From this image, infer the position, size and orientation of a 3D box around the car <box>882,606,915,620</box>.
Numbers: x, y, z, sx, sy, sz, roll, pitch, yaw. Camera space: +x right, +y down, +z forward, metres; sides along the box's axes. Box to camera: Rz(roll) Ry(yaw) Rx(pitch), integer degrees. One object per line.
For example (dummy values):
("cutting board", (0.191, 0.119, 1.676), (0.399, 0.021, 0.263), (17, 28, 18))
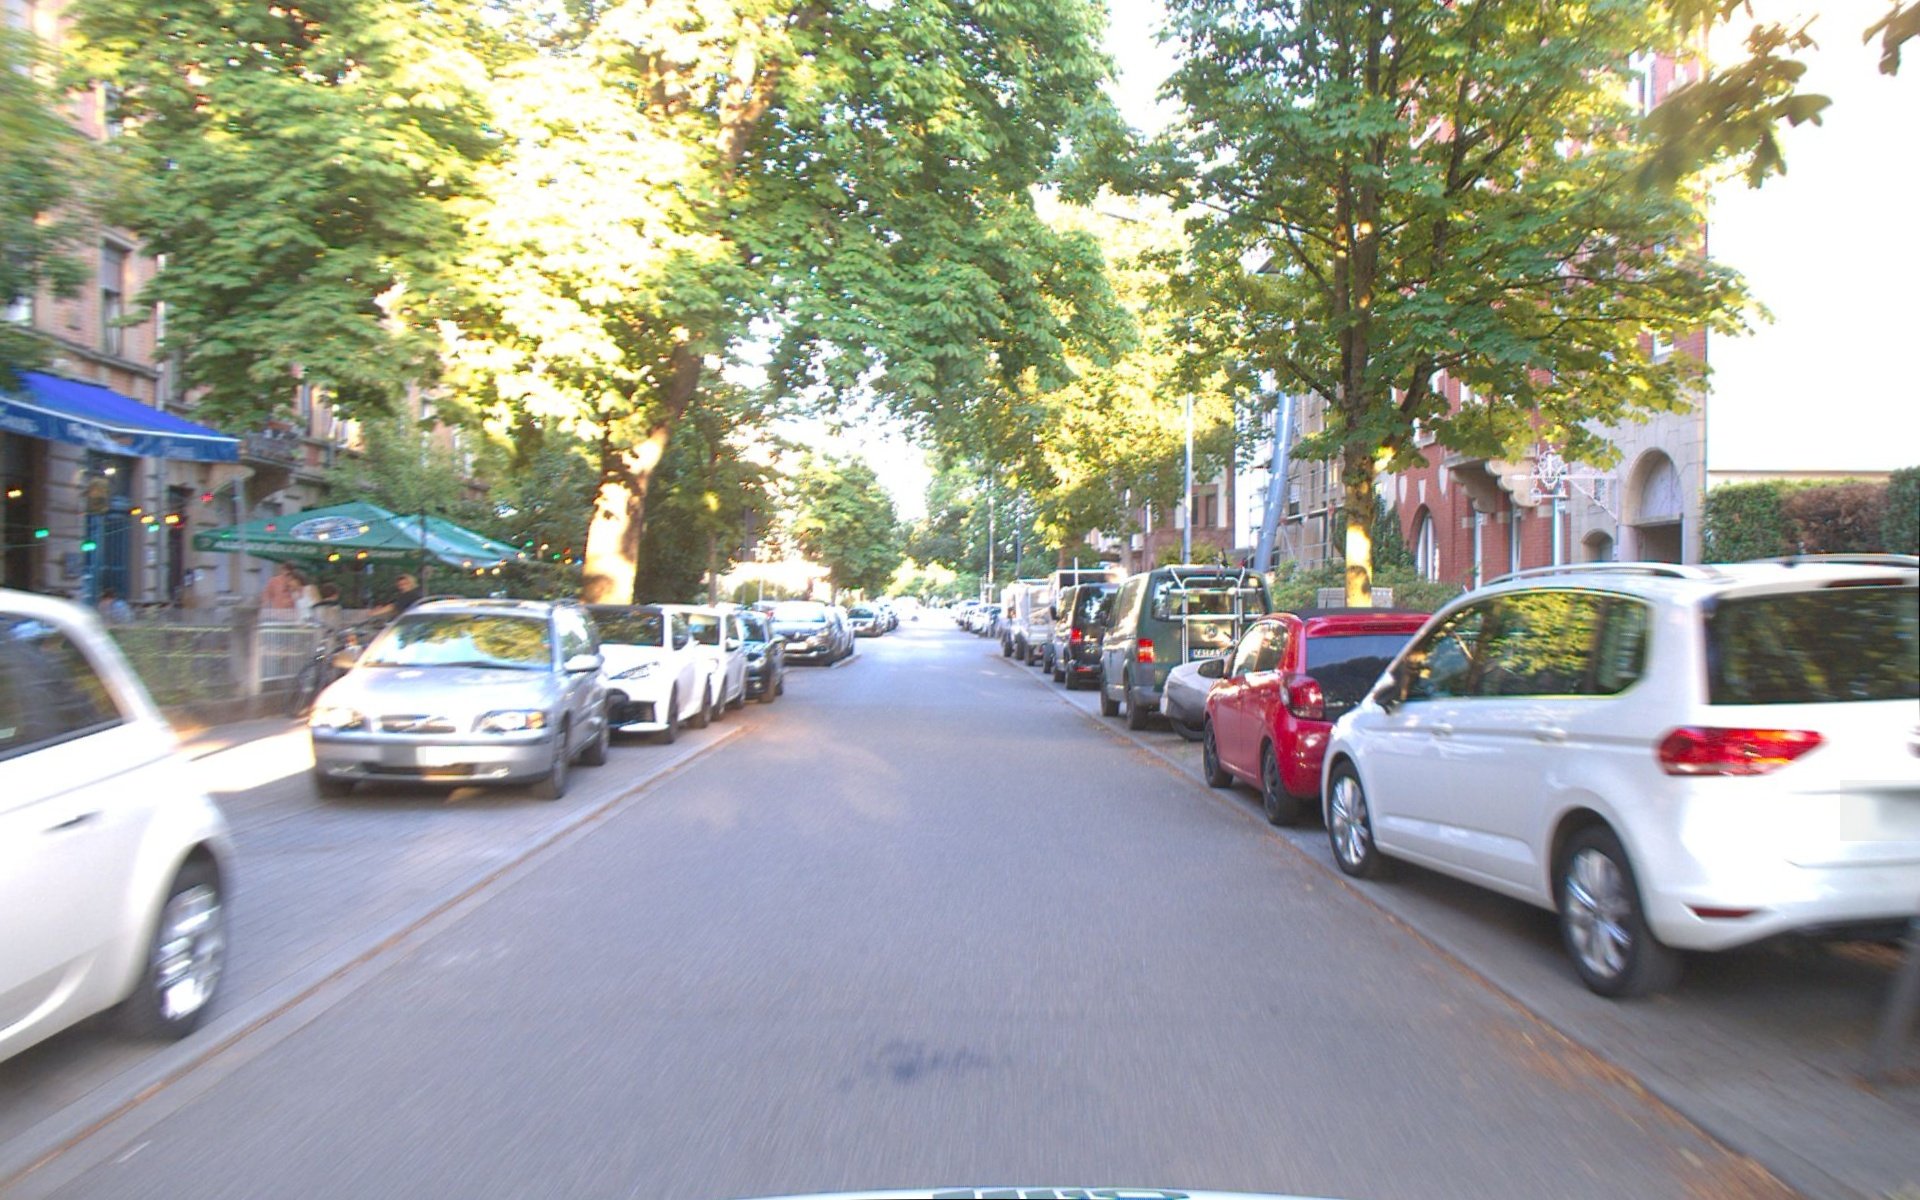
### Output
("car", (-6.594, 1.380, 177.167), (3.548, 1.487, 1.605), (1, 0, -5))

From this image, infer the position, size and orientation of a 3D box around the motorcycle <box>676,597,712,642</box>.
("motorcycle", (-7.567, 0.536, 47.127), (0.570, 1.176, 2.891), (3, 1, -1))

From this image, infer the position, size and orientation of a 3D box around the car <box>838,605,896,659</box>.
("car", (-3.020, 0.991, 53.033), (1.657, 1.528, 4.733), (3, 0, -5))

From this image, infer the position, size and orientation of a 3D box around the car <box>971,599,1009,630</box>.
("car", (1.683, 0.819, 93.986), (1.762, 1.741, 4.597), (0, -1, -4))

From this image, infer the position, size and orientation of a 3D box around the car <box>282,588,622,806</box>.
("car", (-3.909, 0.648, 13.537), (1.805, 1.436, 4.594), (2, 0, -7))

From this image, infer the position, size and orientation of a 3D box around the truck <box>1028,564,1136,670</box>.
("truck", (2.791, 0.350, 38.937), (1.915, 2.285, 4.642), (-2, 1, -3))

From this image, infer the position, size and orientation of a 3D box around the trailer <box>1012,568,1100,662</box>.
("trailer", (2.518, 0.377, 44.327), (1.914, 2.336, 4.643), (-2, 0, -1))

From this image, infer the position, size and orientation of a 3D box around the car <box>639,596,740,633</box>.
("car", (-11.803, 0.631, 72.345), (4.005, 1.472, 1.710), (1, 1, 8))

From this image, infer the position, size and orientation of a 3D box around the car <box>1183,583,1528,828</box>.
("car", (2.806, 0.661, 12.544), (1.630, 1.526, 3.693), (-2, 1, -1))

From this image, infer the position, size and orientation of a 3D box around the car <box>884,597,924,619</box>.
("car", (-6.120, 0.882, 179.855), (4.263, 2.359, 1.744), (1, 0, -3))

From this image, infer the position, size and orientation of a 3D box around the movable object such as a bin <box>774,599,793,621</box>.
("movable object such as a bin", (-11.217, 0.636, 105.404), (0.991, 1.344, 1.005), (3, 0, 3))

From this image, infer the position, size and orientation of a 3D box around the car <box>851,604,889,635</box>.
("car", (-4.462, 0.949, 82.516), (1.583, 1.496, 3.962), (1, 0, 1))

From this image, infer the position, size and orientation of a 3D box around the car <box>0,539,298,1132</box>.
("car", (-3.240, 0.560, 4.234), (1.631, 1.519, 3.709), (3, 0, -2))

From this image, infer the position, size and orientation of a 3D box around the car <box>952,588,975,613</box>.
("car", (0.298, 0.072, 137.645), (1.647, 1.975, 3.877), (1, -1, -4))

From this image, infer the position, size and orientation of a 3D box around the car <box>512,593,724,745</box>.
("car", (-3.758, 0.700, 18.788), (1.571, 1.460, 3.885), (3, 0, -1))

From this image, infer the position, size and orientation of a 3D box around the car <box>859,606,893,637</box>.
("car", (-4.972, 1.250, 98.692), (1.882, 1.747, 4.426), (1, 0, -1))

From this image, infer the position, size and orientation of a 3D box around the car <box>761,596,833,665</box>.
("car", (-4.160, 0.742, 42.561), (1.657, 1.591, 4.398), (3, 0, -5))

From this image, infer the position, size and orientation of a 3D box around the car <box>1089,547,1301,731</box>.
("car", (2.951, 0.436, 21.861), (1.915, 2.094, 4.829), (-2, 1, -2))

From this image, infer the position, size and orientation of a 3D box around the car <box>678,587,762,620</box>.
("car", (-11.244, 0.164, 77.538), (3.487, 1.472, 1.819), (1, 1, 8))

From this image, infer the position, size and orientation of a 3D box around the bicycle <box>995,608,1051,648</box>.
("bicycle", (2.156, 0.958, 56.969), (1.866, 1.280, 0.406), (-2, 0, -7))

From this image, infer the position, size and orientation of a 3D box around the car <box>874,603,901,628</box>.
("car", (-4.868, 1.026, 111.392), (1.681, 1.594, 3.787), (1, 0, -1))

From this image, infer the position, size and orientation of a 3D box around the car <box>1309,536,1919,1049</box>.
("car", (3.122, 0.618, 7.725), (1.633, 1.708, 4.113), (-2, 1, -7))

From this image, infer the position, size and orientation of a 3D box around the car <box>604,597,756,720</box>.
("car", (-3.849, 0.754, 23.244), (1.520, 1.511, 3.693), (3, 0, -2))

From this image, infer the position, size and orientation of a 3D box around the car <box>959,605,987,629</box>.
("car", (0.841, 1.110, 109.103), (1.653, 1.466, 4.208), (-1, 0, -1))

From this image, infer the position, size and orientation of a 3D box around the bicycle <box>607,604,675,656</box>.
("bicycle", (-8.258, 0.771, 42.916), (0.593, 1.307, 2.486), (0, 0, 19))

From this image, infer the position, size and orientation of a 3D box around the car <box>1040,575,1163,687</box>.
("car", (2.709, 0.548, 32.637), (1.802, 1.976, 4.612), (-2, 1, -2))

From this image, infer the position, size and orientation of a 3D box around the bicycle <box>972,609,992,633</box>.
("bicycle", (1.143, 1.061, 84.797), (0.434, 1.193, 1.635), (1, -1, 23))

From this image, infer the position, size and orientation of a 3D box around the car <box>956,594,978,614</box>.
("car", (0.580, 0.328, 133.672), (1.508, 1.548, 3.429), (1, -1, -4))

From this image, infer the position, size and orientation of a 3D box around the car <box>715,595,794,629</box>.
("car", (-11.121, 0.665, 89.529), (4.011, 1.554, 1.708), (4, 0, -3))

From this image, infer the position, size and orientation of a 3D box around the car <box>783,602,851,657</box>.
("car", (-4.096, 0.846, 47.947), (1.655, 1.528, 4.401), (0, -1, -1))

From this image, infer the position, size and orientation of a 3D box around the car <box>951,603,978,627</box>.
("car", (0.316, 1.065, 116.325), (1.653, 1.634, 3.937), (1, -1, -4))

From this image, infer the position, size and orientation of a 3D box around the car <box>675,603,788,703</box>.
("car", (-3.712, 0.824, 27.373), (1.520, 1.511, 3.692), (0, 0, -3))

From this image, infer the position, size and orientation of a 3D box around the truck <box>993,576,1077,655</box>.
("truck", (2.235, 0.471, 51.406), (1.938, 2.284, 6.772), (0, -1, -3))
